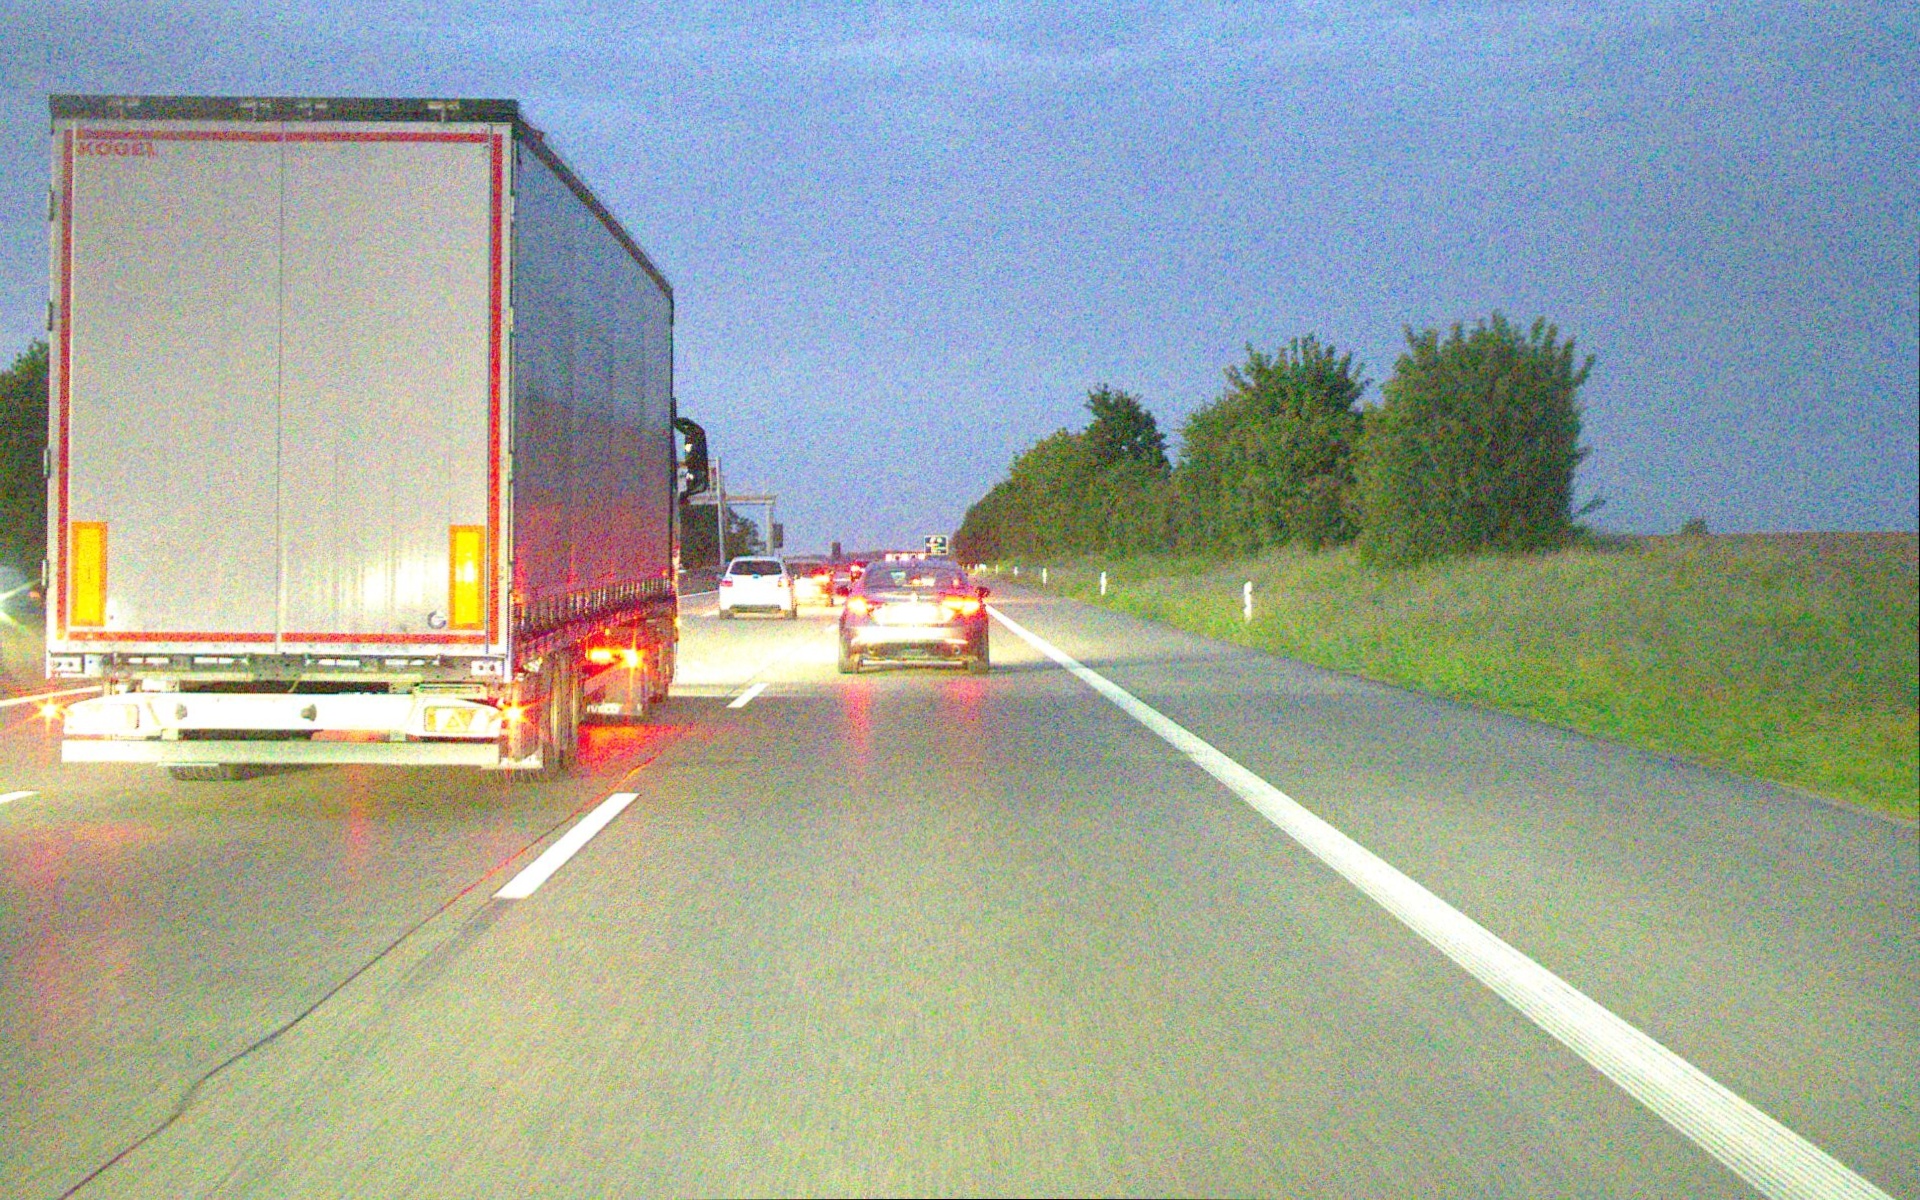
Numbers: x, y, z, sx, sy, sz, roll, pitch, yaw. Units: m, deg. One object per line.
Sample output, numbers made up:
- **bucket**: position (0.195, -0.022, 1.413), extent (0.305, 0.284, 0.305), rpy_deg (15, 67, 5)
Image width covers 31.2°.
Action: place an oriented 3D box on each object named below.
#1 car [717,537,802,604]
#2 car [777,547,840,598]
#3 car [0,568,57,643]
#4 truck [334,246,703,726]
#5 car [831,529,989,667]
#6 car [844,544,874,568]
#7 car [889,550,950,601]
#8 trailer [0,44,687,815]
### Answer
- **car**: position (-4.757, -0.702, 81.906), extent (1.744, 1.519, 4.414), rpy_deg (1, 0, 0)
- **car**: position (-4.537, -0.816, 103.538), extent (1.722, 1.466, 4.726), rpy_deg (1, 0, -1)
- **car**: position (-20.160, 0.090, 71.219), extent (1.743, 1.493, 4.521), rpy_deg (1, 0, -1)
- **truck**: position (-3.994, -0.994, 32.394), extent (2.777, 4.079, 6.103), rpy_deg (0, 0, -1)
- **car**: position (-0.623, -0.037, 43.557), extent (1.880, 1.637, 4.000), rpy_deg (1, 0, -1)
- **car**: position (-6.616, -2.857, 224.766), extent (1.880, 1.547, 4.000), rpy_deg (1, 0, -1)
- **car**: position (-1.289, -0.759, 108.002), extent (1.880, 1.547, 4.000), rpy_deg (1, 0, -1)
- **trailer**: position (-3.864, -0.955, 25.486), extent (2.794, 4.071, 14.526), rpy_deg (0, 0, -1)
